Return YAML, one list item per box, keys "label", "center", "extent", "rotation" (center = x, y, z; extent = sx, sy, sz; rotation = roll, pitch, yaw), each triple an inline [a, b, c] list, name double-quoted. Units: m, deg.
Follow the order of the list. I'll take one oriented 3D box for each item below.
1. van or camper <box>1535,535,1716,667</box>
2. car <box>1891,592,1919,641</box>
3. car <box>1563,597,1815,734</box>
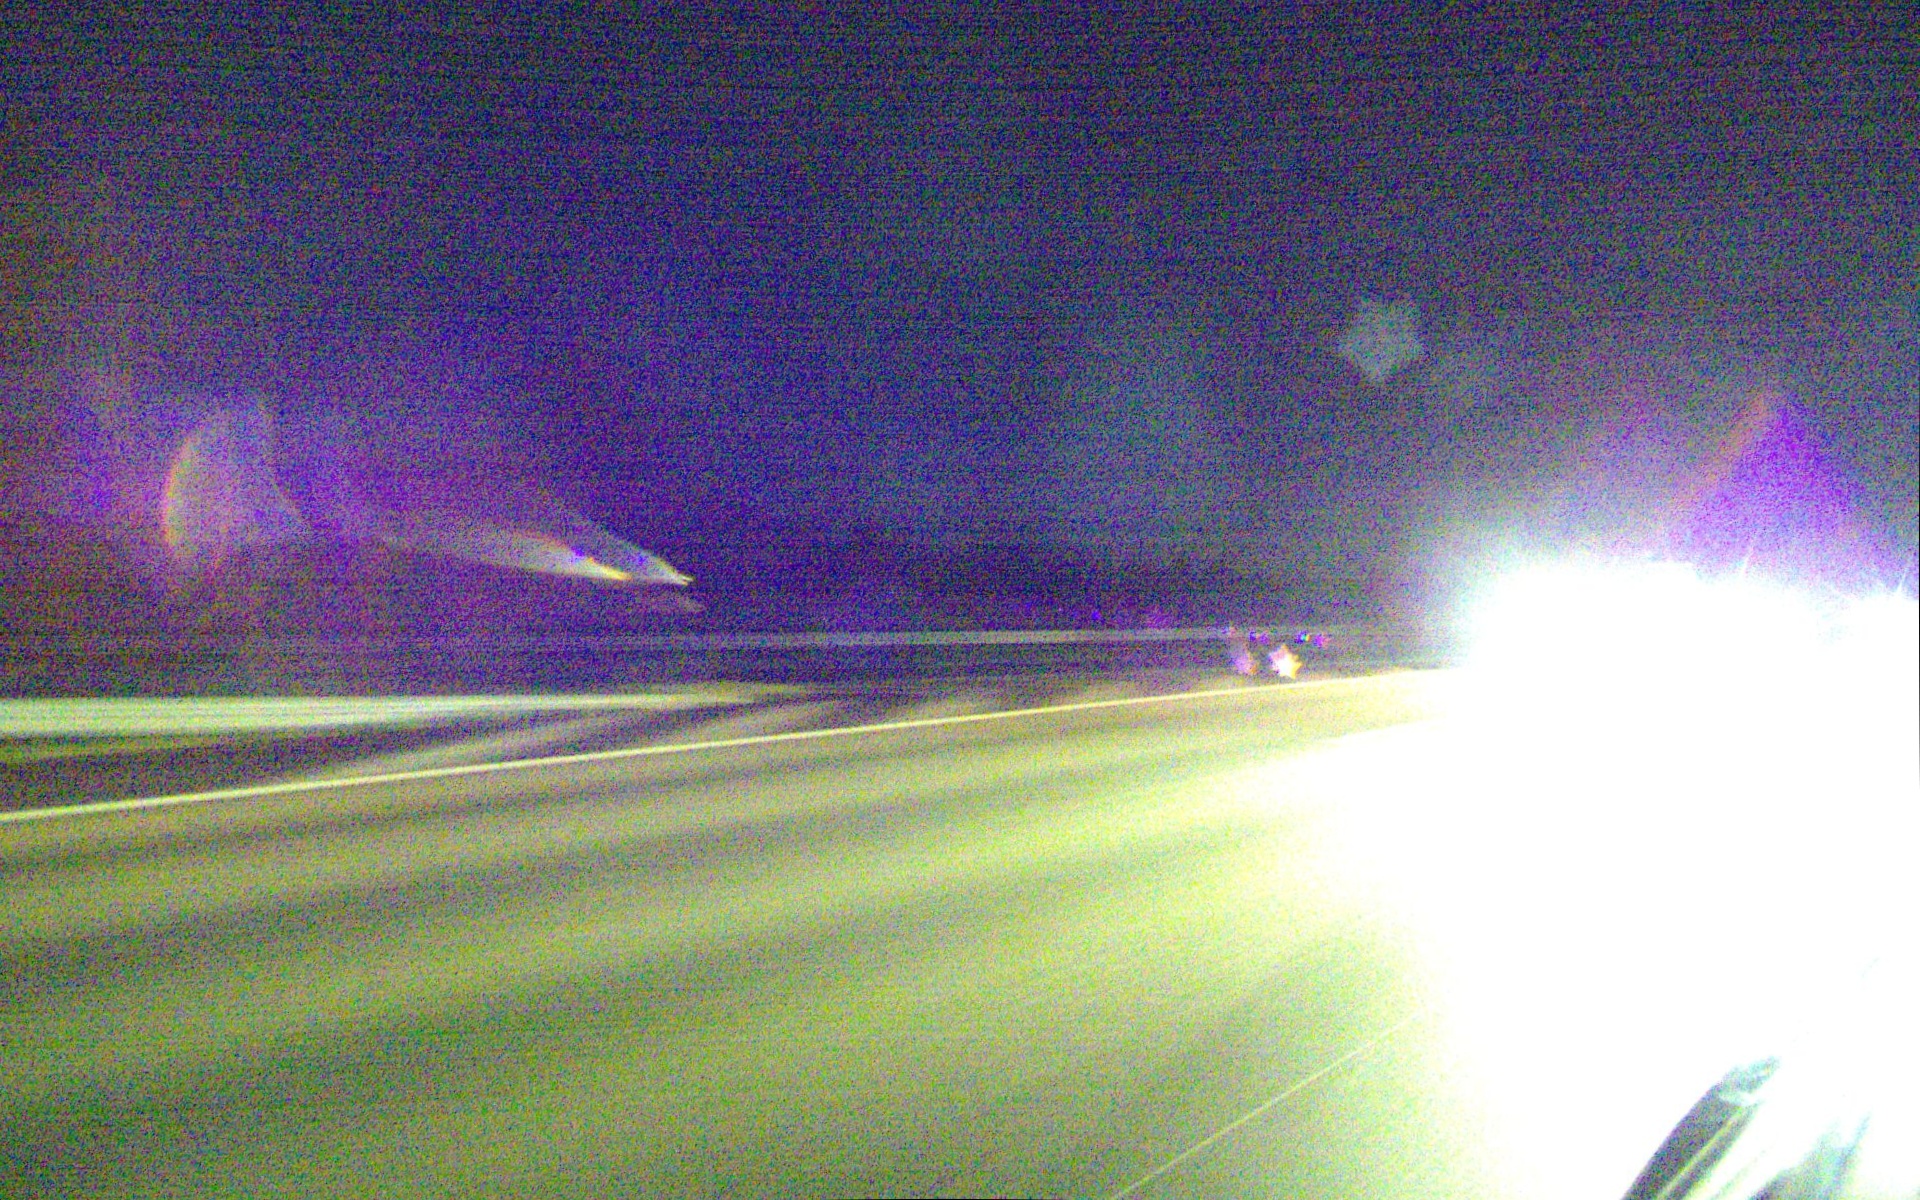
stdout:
- label: "van or camper"
  center: [16.294, 0.017, 24.575]
  extent: [6.689, 2.807, 2.209]
  rotation: [0, 0, -43]
- label: "car"
  center: [32.914, 0.550, 34.101]
  extent: [4.151, 1.560, 1.794]
  rotation: [0, 1, -41]
- label: "car"
  center: [9.258, 0.691, 12.724]
  extent: [4.151, 1.431, 1.689]
  rotation: [0, 0, -41]
